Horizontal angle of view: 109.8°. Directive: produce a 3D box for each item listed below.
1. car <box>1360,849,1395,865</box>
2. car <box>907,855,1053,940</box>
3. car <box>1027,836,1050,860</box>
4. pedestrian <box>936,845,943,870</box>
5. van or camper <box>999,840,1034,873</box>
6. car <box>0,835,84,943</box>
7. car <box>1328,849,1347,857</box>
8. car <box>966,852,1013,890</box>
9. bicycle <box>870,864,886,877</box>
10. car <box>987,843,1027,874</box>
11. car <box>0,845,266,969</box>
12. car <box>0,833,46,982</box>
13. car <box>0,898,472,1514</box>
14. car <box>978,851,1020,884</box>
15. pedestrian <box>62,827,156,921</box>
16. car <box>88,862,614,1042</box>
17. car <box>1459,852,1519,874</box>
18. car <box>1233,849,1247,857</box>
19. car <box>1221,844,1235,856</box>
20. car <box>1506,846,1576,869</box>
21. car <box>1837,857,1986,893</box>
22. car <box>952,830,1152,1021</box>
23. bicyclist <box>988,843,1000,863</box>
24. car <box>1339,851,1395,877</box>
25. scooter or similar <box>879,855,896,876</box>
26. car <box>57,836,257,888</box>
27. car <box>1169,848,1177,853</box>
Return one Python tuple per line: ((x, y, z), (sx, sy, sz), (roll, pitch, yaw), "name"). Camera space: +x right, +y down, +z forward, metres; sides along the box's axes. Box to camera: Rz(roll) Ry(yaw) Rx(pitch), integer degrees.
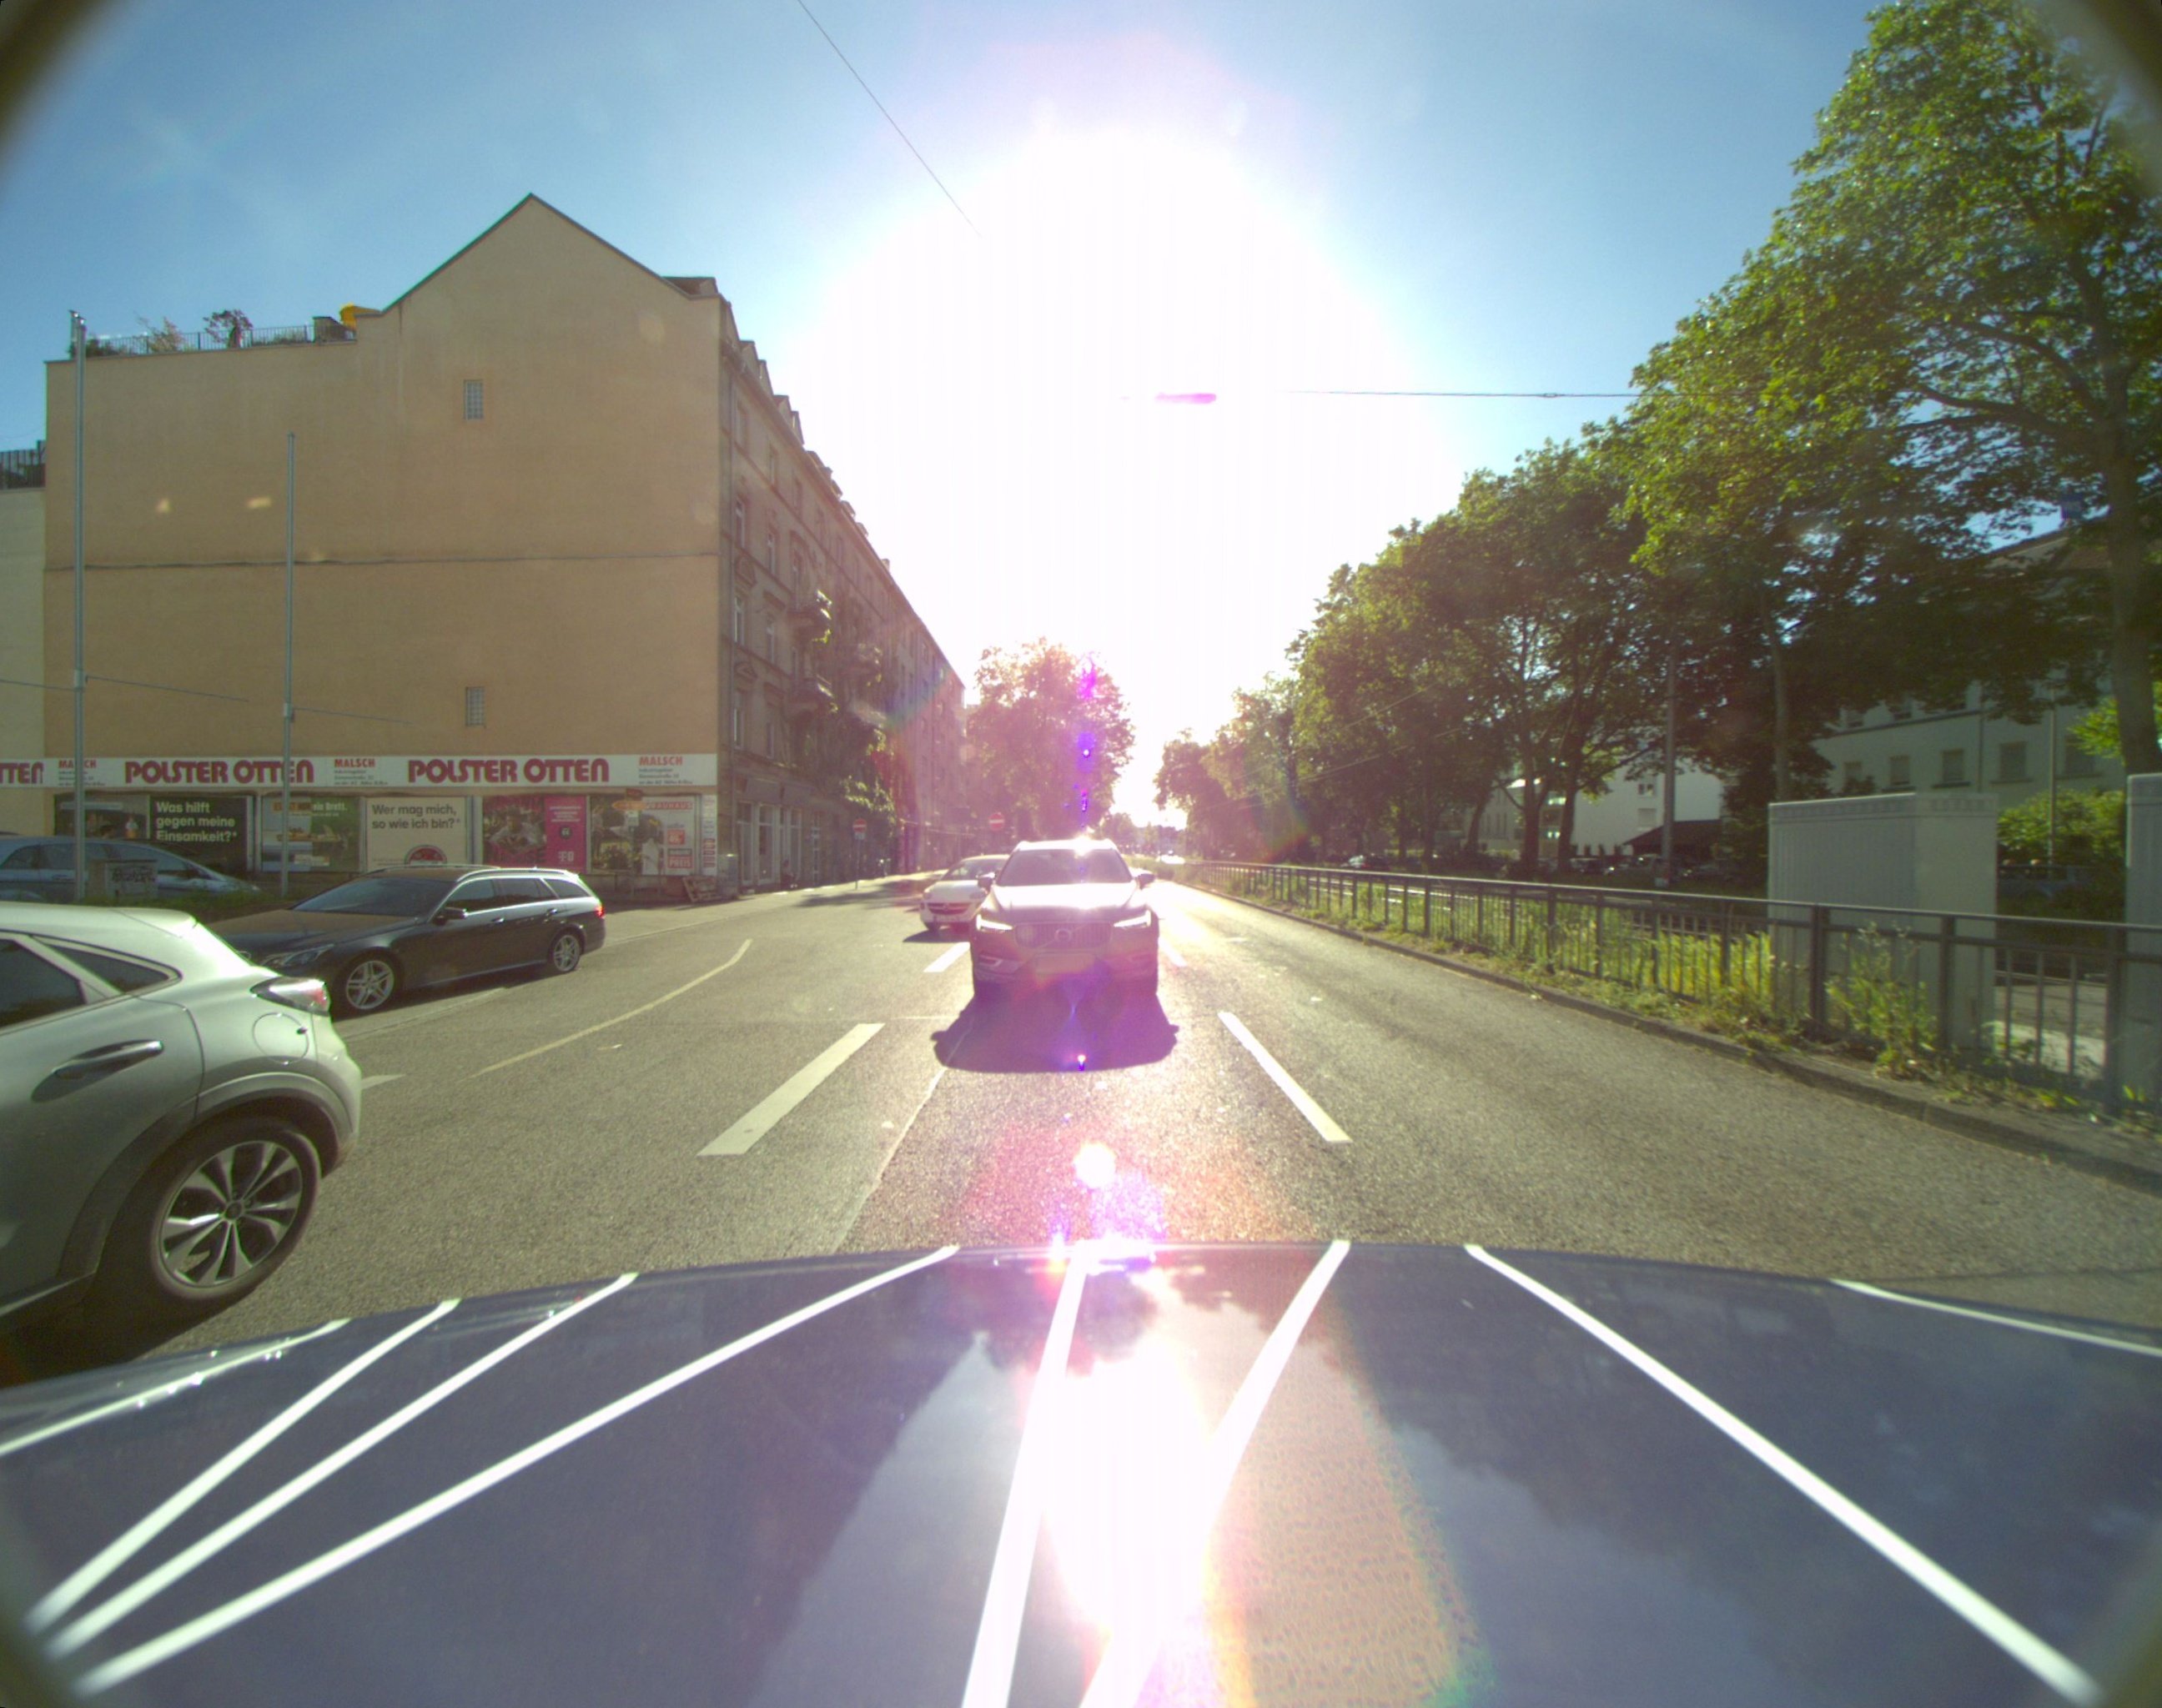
((28.434, 0.299, 73.034), (1.801, 1.464, 4.000), (0, 1, 1), "car")
((-1.981, 0.829, 16.085), (1.605, 1.446, 3.785), (-1, 1, 17), "car")
((-4.623, -0.654, 82.917), (2.079, 2.420, 5.855), (-1, 1, 1), "car")
((-10.447, 0.263, 56.112), (0.470, 1.822, 0.516), (0, 1, 0), "pedestrian")
((-4.142, 0.142, 49.469), (1.889, 2.002, 5.093), (0, 1, 0), "van or camper")
((-17.738, 0.559, 10.856), (1.749, 1.683, 3.998), (0, 1, -2), "car")
((28.009, -0.158, 82.959), (1.109, 0.871, 3.060), (0, 0, 0), "car")
((-4.072, 0.707, 34.273), (1.645, 1.509, 3.999), (-3, 1, -1), "car")
((-11.116, 0.893, 41.623), (0.469, 0.702, 1.512), (0, 1, 1), "bicycle")
((-4.223, 0.226, 43.945), (1.869, 1.754, 4.000), (0, 1, 1), "car")
((-15.195, 0.677, 11.395), (1.749, 1.635, 3.998), (0, 1, -3), "car")
((-12.724, 0.637, 6.809), (1.654, 1.636, 3.900), (2, 2, -3), "car")
((-3.697, 1.004, 1.405), (1.702, 1.519, 4.379), (-1, 1, -2), "car")
((-4.112, 0.639, 38.723), (1.743, 1.509, 3.999), (-3, 1, -1), "car")
((-21.220, 0.429, 16.607), (0.819, 2.002, 0.923), (0, 1, 1), "pedestrian")
((-8.206, 0.931, 9.379), (1.837, 1.478, 4.733), (3, 1, 1), "car")
((28.942, 0.589, 54.008), (1.998, 1.444, 4.318), (0, 1, 1), "car")
((27.468, -0.169, 131.443), (1.771, 1.477, 3.688), (0, 1, 1), "car")
((27.332, -0.759, 141.499), (1.998, 2.002, 4.001), (-2, 0, 5), "car")
((28.487, 0.180, 47.258), (1.644, 1.316, 4.460), (2, 1, 1), "car")
((28.202, 0.681, 25.938), (1.476, 1.110, 3.217), (0, 1, -3), "car")
((-0.223, 0.652, 9.451), (1.876, 1.788, 4.632), (0, 1, 1), "car")
((-6.525, -0.106, 57.046), (0.746, 1.453, 0.951), (0, 2, 2), "bicyclist")
((17.564, 0.580, 46.908), (1.688, 1.490, 4.341), (0, 1, -3), "car")
((-11.106, 0.629, 43.532), (0.638, 1.167, 1.730), (0, 1, -24), "scooter or similar")
((-28.667, 0.193, 23.763), (1.679, 1.455, 3.644), (0, 2, 2), "car")
((28.037, -1.092, 231.844), (1.862, 1.638, 4.459), (0, 1, -1), "car")
